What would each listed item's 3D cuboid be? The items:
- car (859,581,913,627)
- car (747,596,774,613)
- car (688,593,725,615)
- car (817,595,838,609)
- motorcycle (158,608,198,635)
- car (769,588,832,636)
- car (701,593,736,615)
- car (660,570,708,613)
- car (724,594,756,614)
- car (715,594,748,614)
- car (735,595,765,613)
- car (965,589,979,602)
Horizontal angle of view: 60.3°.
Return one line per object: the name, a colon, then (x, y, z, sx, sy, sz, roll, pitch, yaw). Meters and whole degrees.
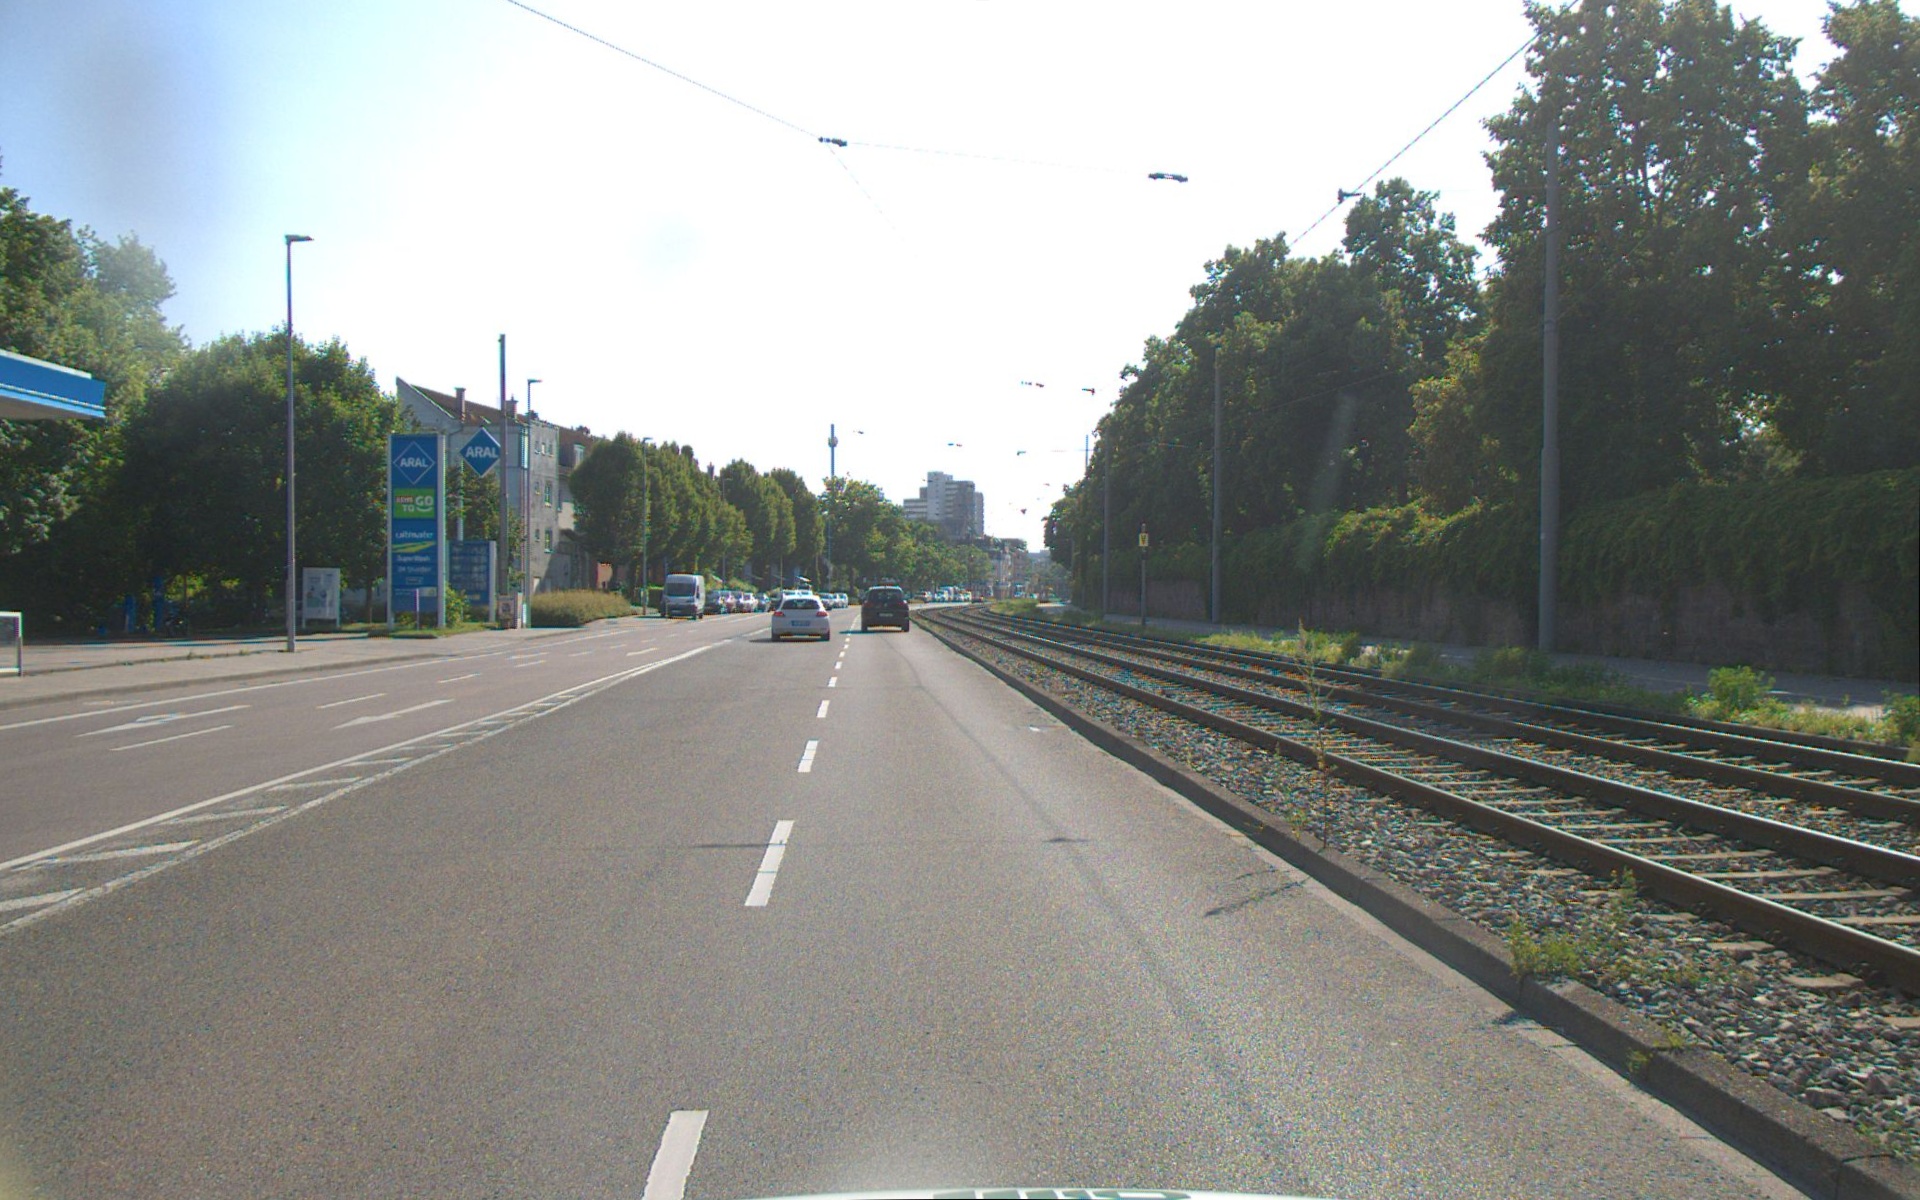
car: (-2.777, 0.146, 61.701, 1.691, 1.620, 3.595, 2, 0, -7)
car: (-17.375, 0.350, 144.310, 1.953, 1.441, 3.843, 0, 0, -1)
car: (-16.832, 0.239, 109.967, 1.953, 1.441, 3.843, 0, 0, -1)
car: (-13.676, 0.206, 171.108, 1.953, 1.441, 3.843, 0, 0, -1)
motorcycle: (-27.504, 0.762, 58.183, 0.657, 0.917, 1.670, 0, 0, -3)
car: (-4.902, 0.339, 51.163, 1.745, 1.380, 3.599, 2, 0, -3)
car: (-16.954, 0.259, 116.033, 1.953, 1.441, 3.843, 0, 0, -1)
car: (-15.757, -0.494, 94.692, 1.953, 2.418, 4.538, 0, 0, 0)
car: (-16.871, 0.284, 126.997, 1.953, 1.441, 3.843, 0, 0, -1)
car: (-16.829, 0.277, 121.735, 1.953, 1.441, 3.843, 0, 0, -1)
car: (-16.827, 0.303, 132.612, 1.953, 1.441, 3.843, 0, 0, -1)
car: (1.543, -0.584, 220.258, 1.688, 1.620, 3.602, 2, 0, 2)
